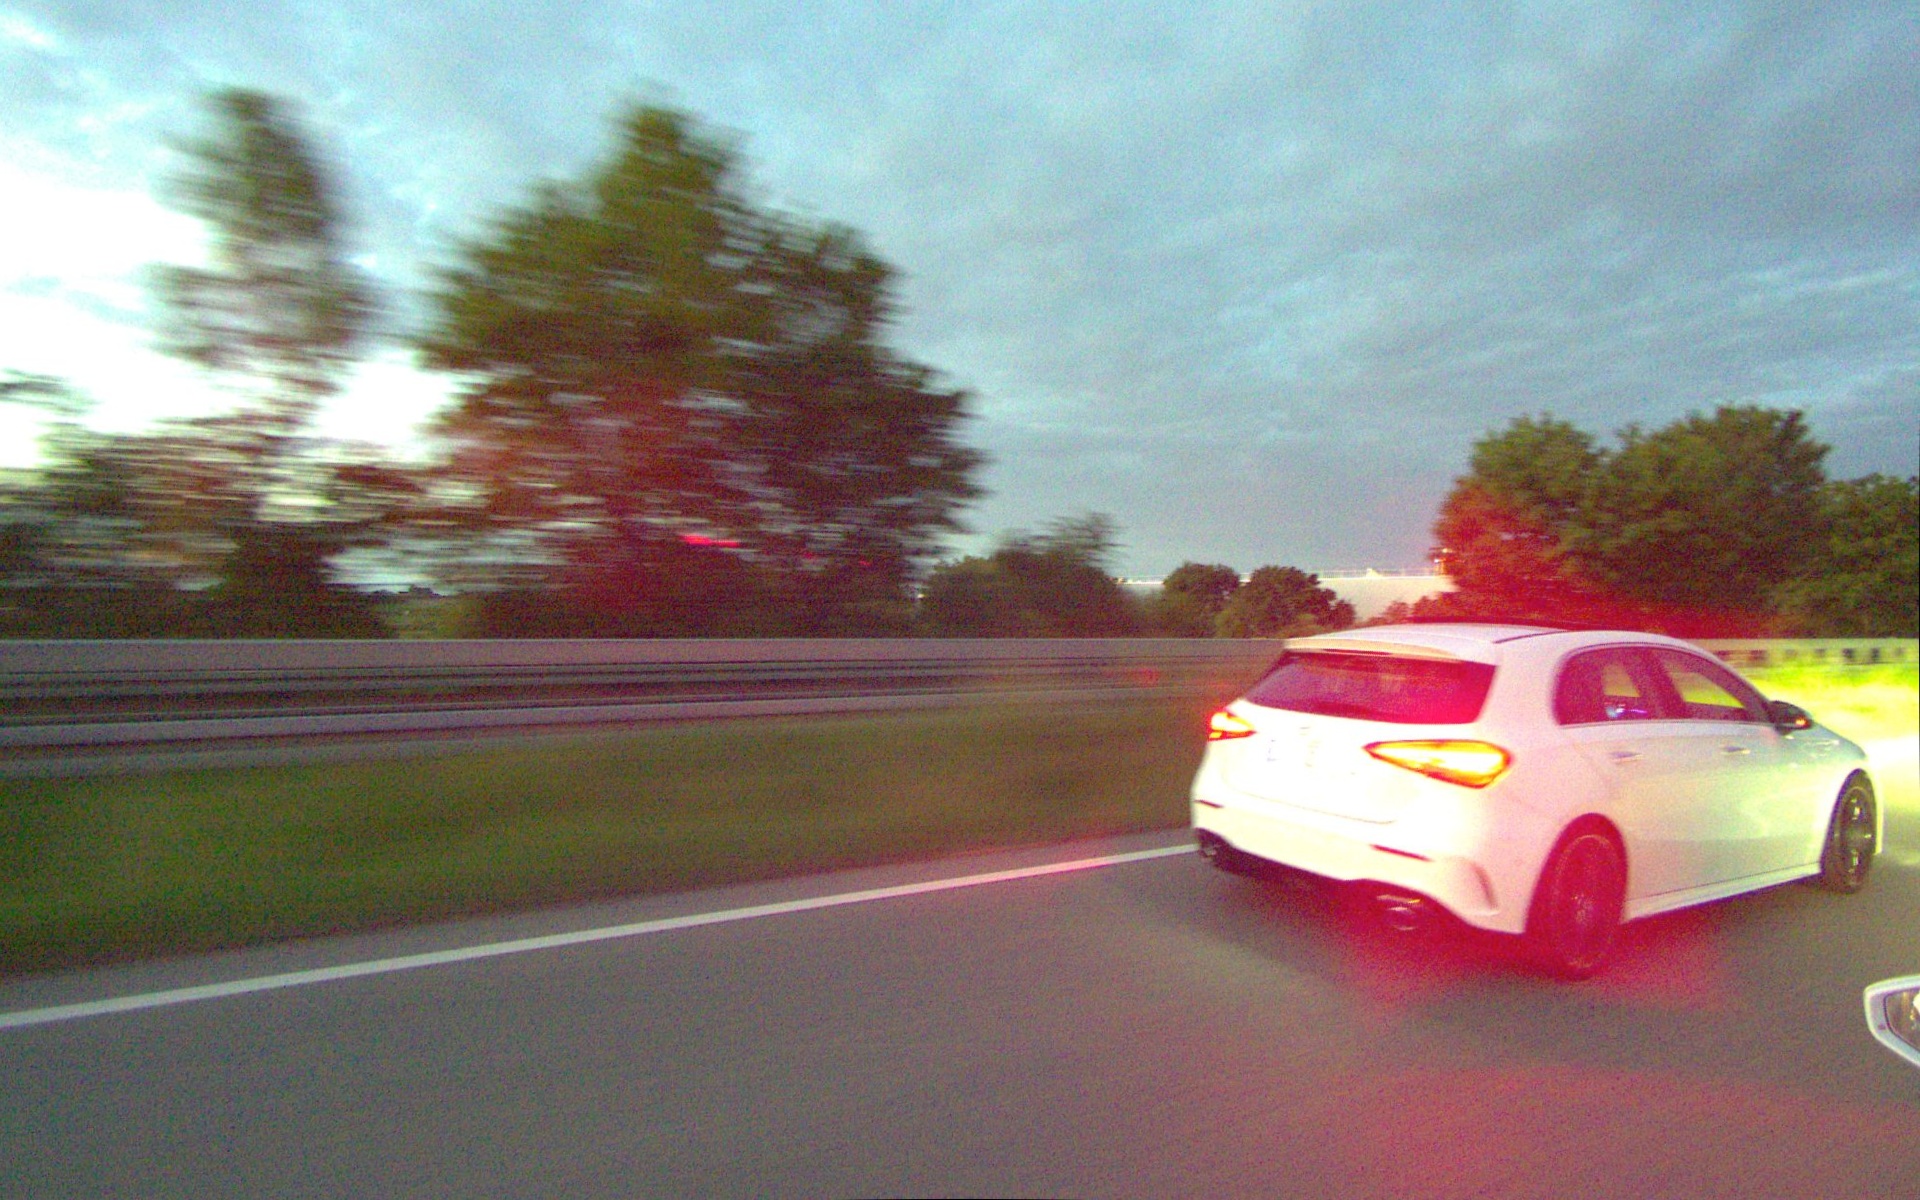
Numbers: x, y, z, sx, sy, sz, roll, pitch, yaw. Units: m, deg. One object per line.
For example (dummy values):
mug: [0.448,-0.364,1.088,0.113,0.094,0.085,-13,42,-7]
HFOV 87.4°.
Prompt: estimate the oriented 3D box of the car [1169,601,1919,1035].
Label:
car: [3.385,0.825,5.406,4.527,1.510,1.633,2,0,-31]
